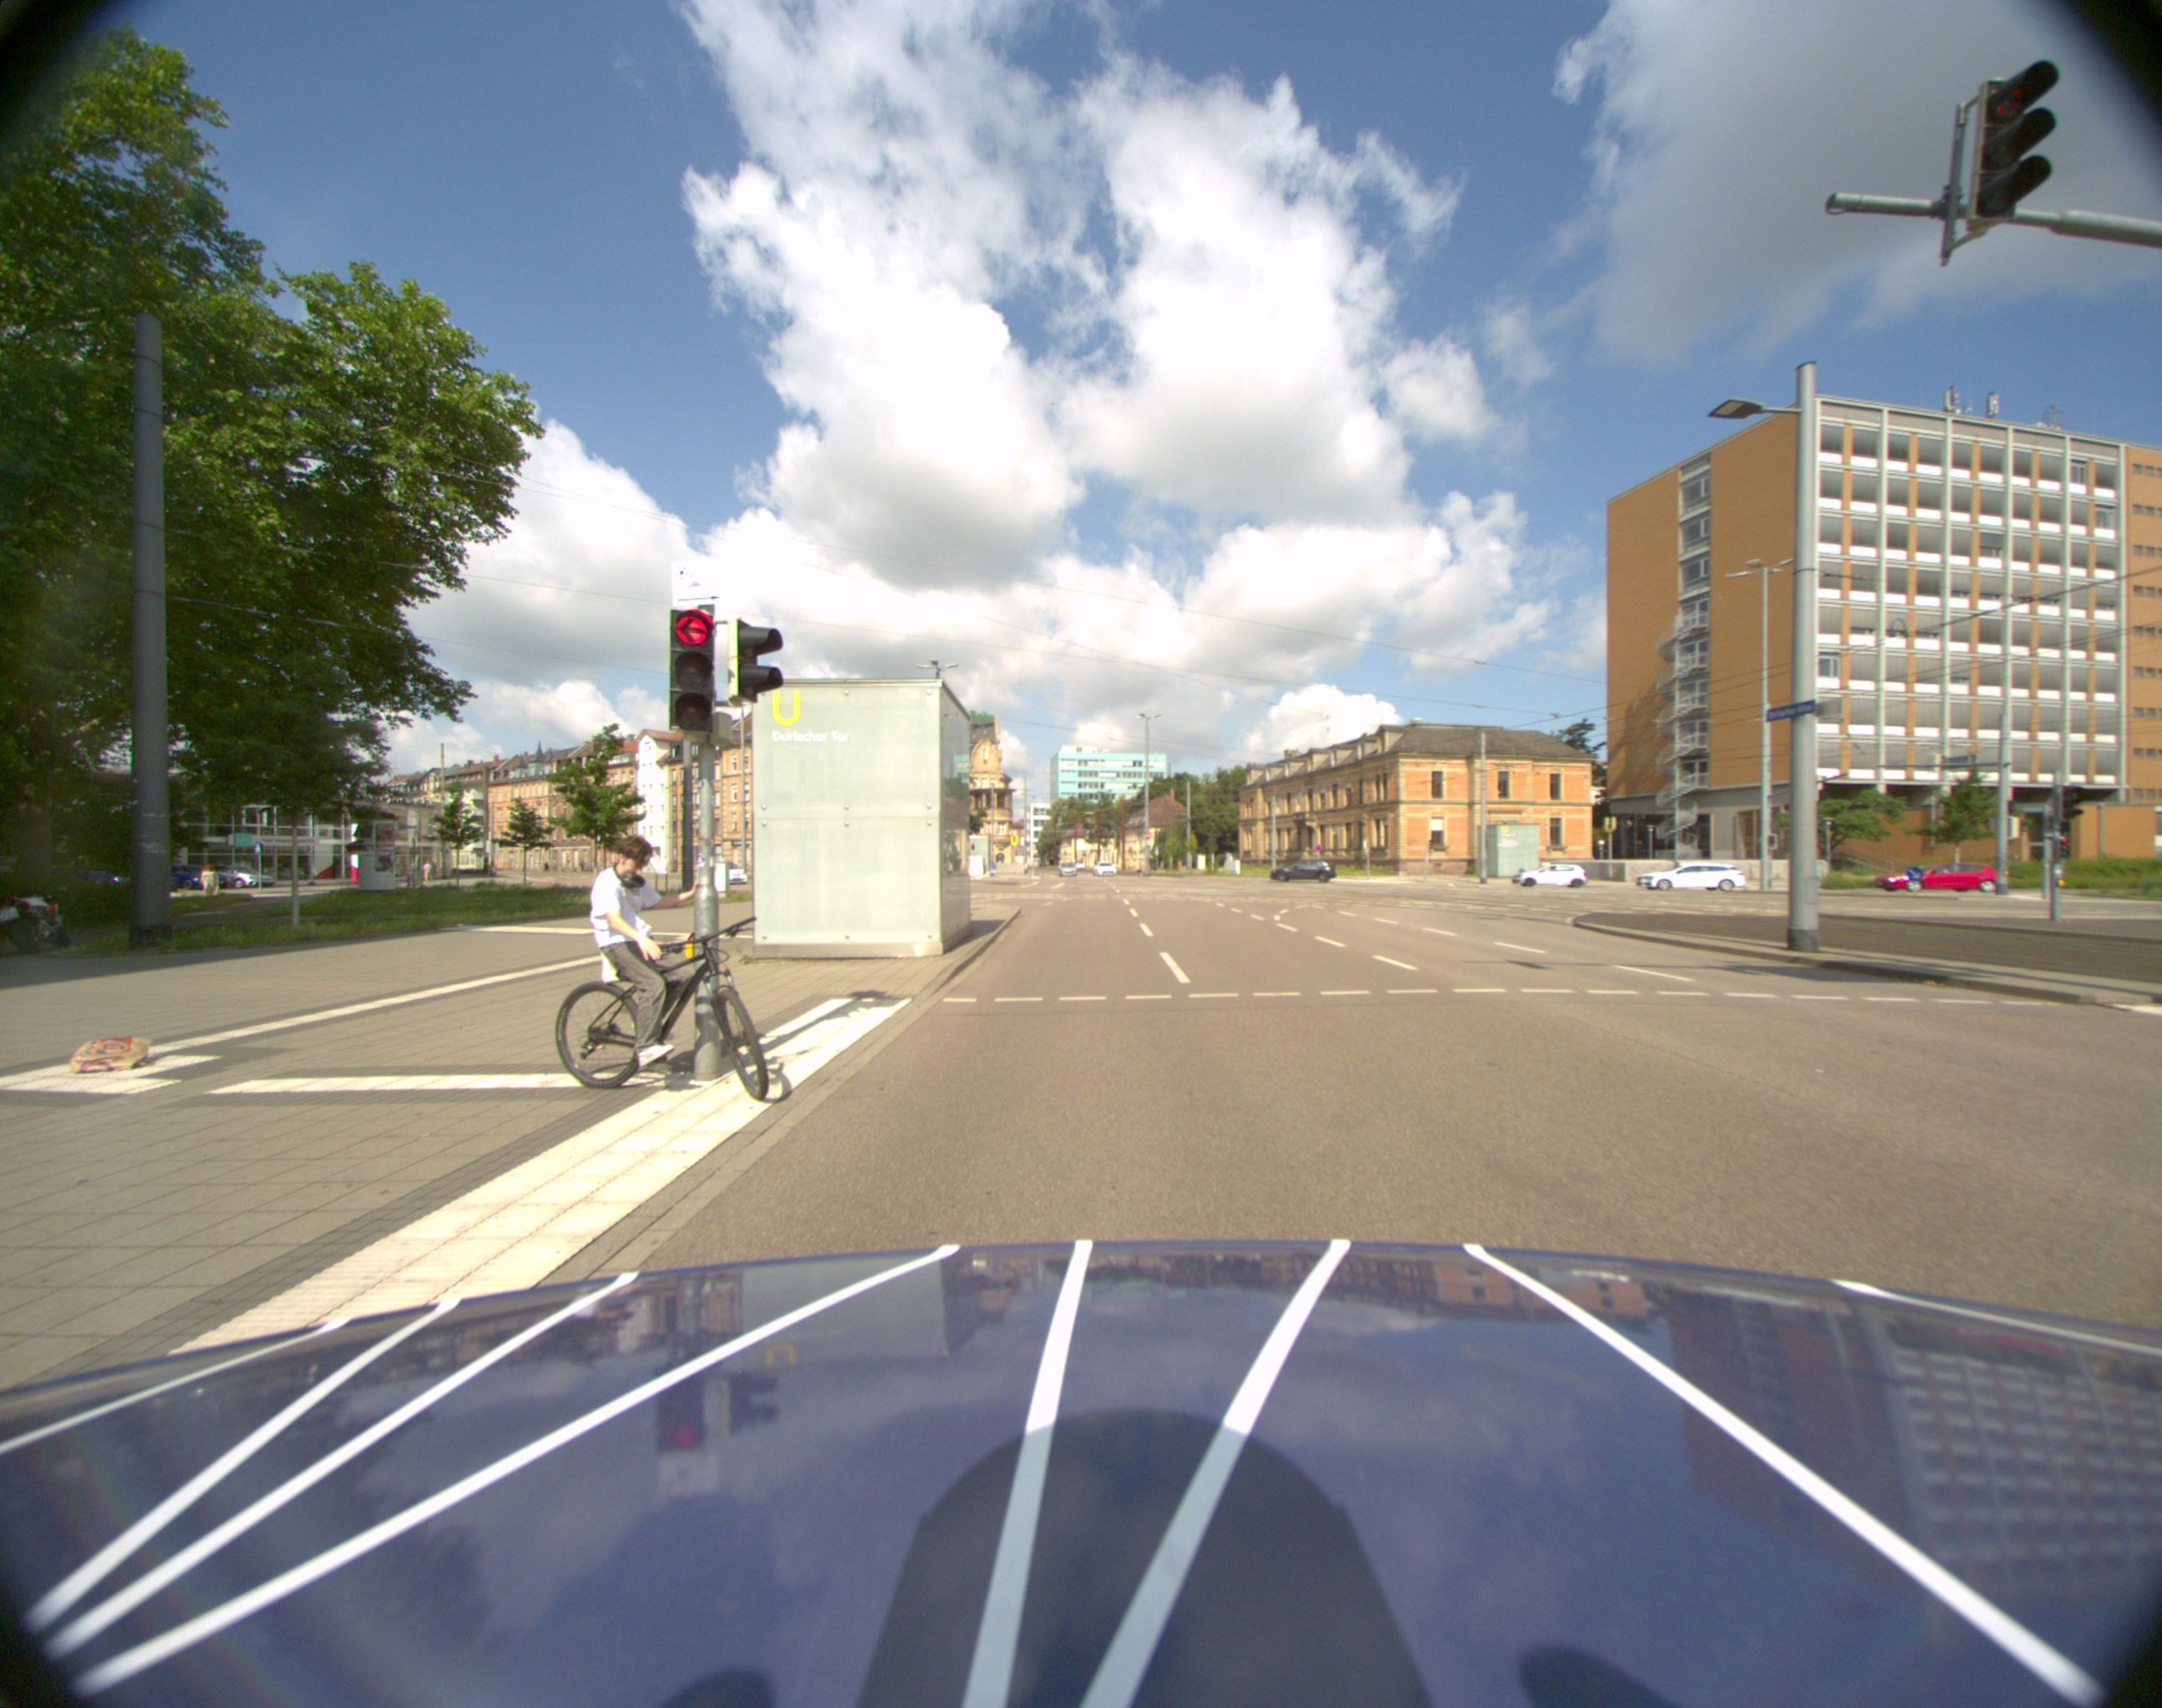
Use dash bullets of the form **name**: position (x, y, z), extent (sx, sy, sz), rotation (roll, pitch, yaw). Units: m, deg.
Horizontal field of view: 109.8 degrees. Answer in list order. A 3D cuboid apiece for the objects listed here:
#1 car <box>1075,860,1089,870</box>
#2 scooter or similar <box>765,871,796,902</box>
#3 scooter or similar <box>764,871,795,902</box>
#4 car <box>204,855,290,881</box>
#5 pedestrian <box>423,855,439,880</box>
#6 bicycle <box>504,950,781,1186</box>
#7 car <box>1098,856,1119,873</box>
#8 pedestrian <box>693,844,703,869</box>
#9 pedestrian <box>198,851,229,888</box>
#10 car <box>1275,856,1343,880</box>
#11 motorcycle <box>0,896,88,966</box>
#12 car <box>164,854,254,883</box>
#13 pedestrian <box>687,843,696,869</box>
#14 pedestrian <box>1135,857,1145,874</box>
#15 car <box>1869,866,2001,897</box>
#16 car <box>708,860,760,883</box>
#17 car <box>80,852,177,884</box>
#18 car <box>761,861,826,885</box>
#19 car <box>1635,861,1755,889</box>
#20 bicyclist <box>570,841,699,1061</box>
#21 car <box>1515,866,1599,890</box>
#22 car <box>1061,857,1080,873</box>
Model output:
- **car**: position (0.235, 2.383, 161.522), extent (2.001, 2.001, 3.996), rotation (0, -2, -14)
- **scooter or similar**: position (-11.505, 1.233, 29.092), extent (1.067, 1.189, 0.381), rotation (1, -2, -35)
- **scooter or similar**: position (-11.769, 1.253, 29.654), extent (0.380, 1.189, 1.067), rotation (-2, -2, 45)
- **car**: position (-55.824, 0.979, 50.883), extent (3.994, 1.673, 1.936), rotation (-1, -2, 9)
- **pedestrian**: position (-53.838, 1.116, 62.942), extent (0.704, 2.002, 0.870), rotation (0, 0, -21)
- **bicycle**: position (-2.790, 1.213, 4.743), extent (2.094, 1.099, 0.545), rotation (-2, -2, 31)
- **car**: position (2.785, 1.090, 77.345), extent (1.955, 1.586, 4.508), rotation (0, -2, 0)
- **pedestrian**: position (-45.853, 0.301, 90.983), extent (0.885, 3.057, 0.729), rotation (-2, -2, 42)
- **pedestrian**: position (-46.827, 0.835, 41.012), extent (0.806, 2.002, 0.811), rotation (0, 0, 15)
- **car**: position (15.402, 0.975, 51.388), extent (4.202, 1.566, 1.650), rotation (-1, -2, 24)
- **motorcycle**: position (-18.169, 1.292, 12.916), extent (0.976, 1.024, 2.288), rotation (-2, 1, -37)
- **car**: position (-54.879, 0.941, 47.865), extent (3.993, 1.715, 2.003), rotation (-1, -2, 12)
- **pedestrian**: position (-46.354, 0.284, 90.428), extent (0.885, 3.101, 0.669), rotation (-2, -2, 42)
- **pedestrian**: position (5.095, 1.001, 65.440), extent (0.543, 1.507, 0.744), rotation (0, 0, 41)
- **car**: position (42.078, 1.360, 37.538), extent (4.057, 1.458, 1.649), rotation (-1, -2, 16)
- **car**: position (-23.425, 1.185, 51.220), extent (3.646, 1.461, 1.695), rotation (-2, -2, 39)
- **car**: position (-56.380, 0.814, 44.993), extent (3.993, 1.827, 2.002), rotation (-1, 1, 13)
- **car**: position (-17.649, 1.137, 46.598), extent (3.929, 1.368, 1.875), rotation (0, 0, 37)
- **car**: position (32.865, 1.137, 40.817), extent (4.664, 1.420, 1.766), rotation (-1, -2, 18)
- **bicyclist**: position (-2.925, 0.599, 4.975), extent (0.782, 1.328, 0.396), rotation (-1, -2, 31)
- **car**: position (28.736, 1.462, 46.005), extent (4.069, 1.376, 1.591), rotation (-1, -2, 20)
- **car**: position (-1.062, 1.189, 79.392), extent (1.837, 1.586, 4.001), rotation (0, -2, 0)
